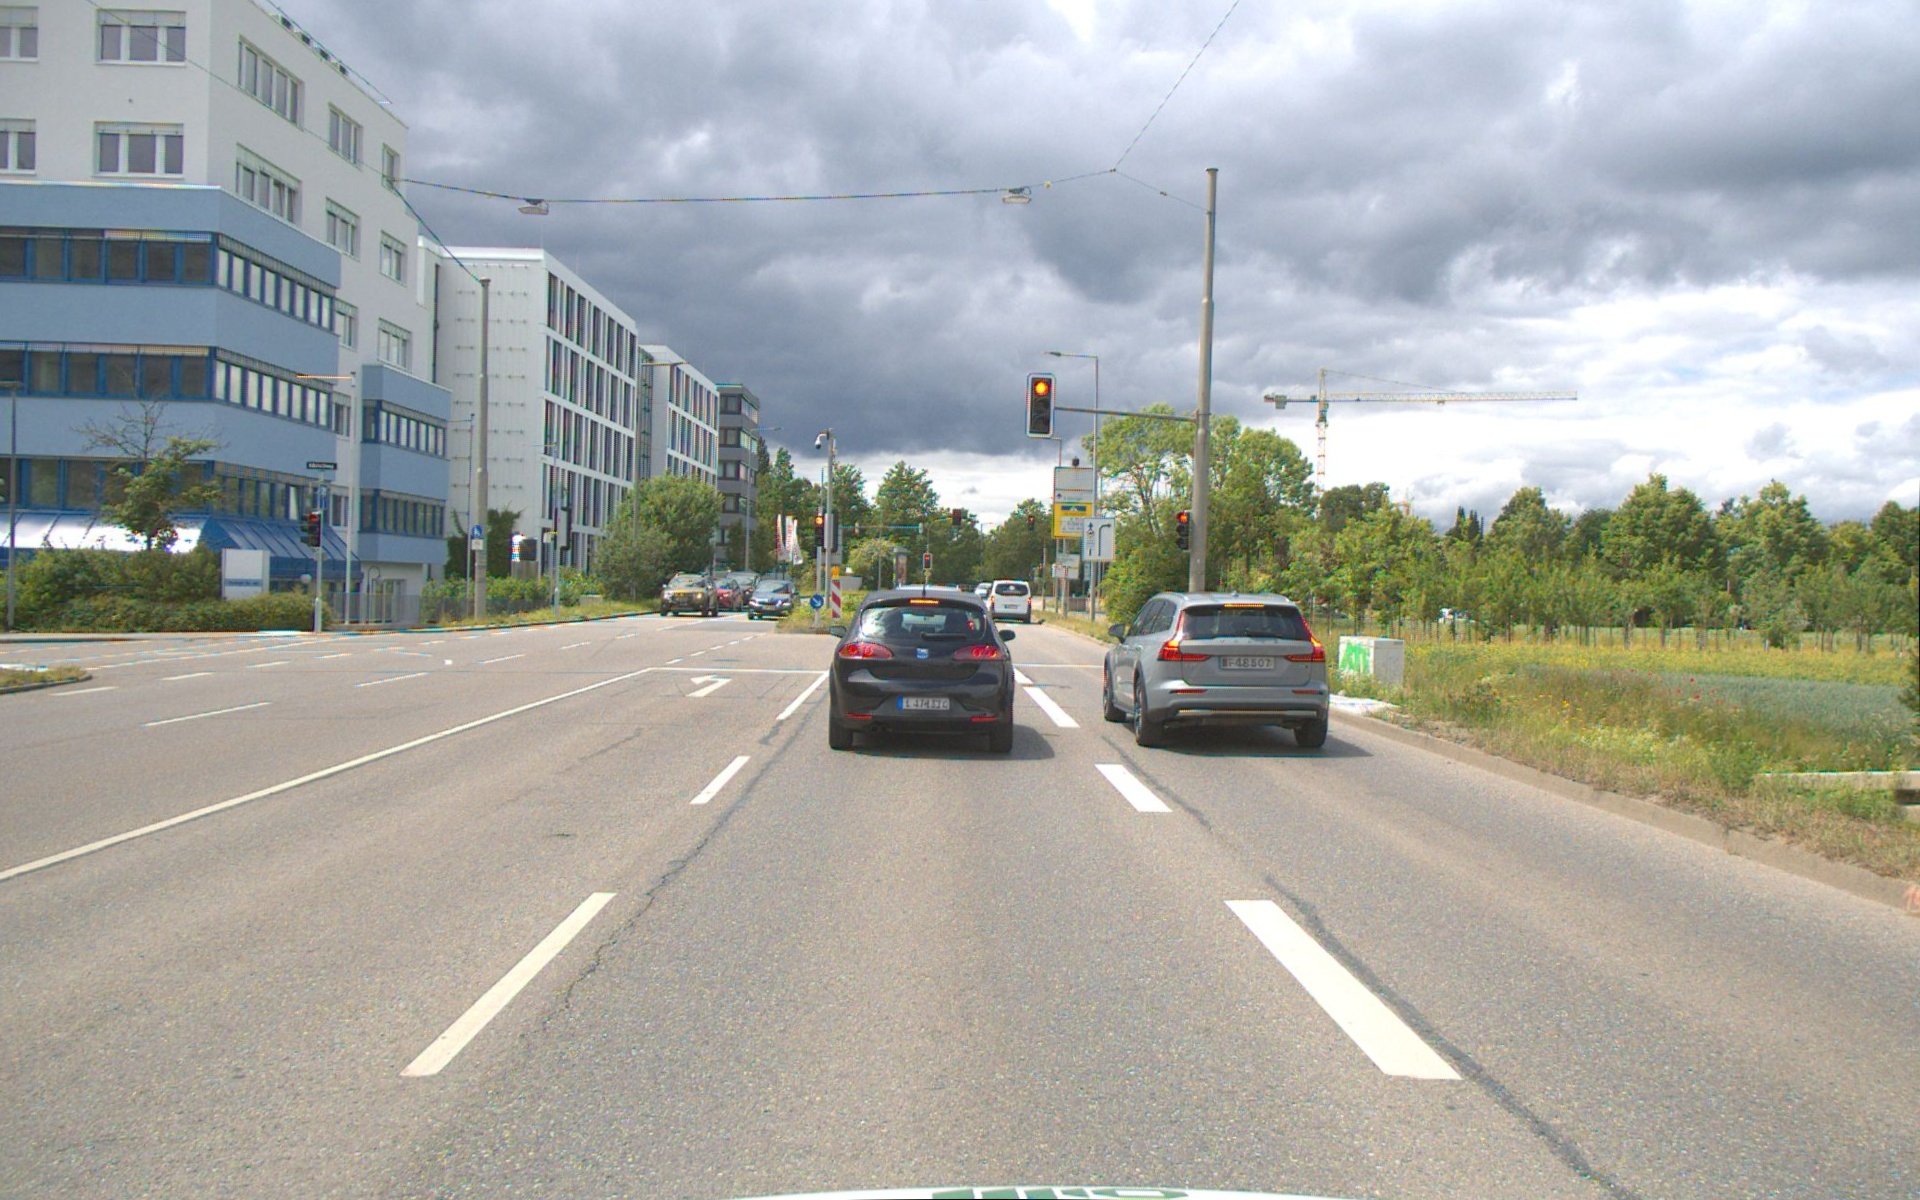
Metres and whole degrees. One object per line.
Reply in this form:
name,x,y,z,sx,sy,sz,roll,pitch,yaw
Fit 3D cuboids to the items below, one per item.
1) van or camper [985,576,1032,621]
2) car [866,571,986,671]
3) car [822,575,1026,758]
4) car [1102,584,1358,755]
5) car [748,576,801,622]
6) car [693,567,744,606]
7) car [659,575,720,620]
van or camper,2.163,-0.070,74.432,1.861,1.959,3.999,1,0,-2
car,-0.637,0.325,29.521,1.943,1.618,4.224,2,1,-2
car,-0.242,0.581,16.378,1.711,1.509,4.001,2,0,2
car,2.661,0.640,17.321,1.918,1.552,4.339,0,0,-1
car,-6.915,-0.069,61.946,1.635,1.551,4.007,-1,2,-1
car,-10.670,-0.584,73.163,1.740,1.640,3.999,1,0,-1
car,-10.272,-0.111,63.064,1.716,1.659,3.999,-1,0,-1
